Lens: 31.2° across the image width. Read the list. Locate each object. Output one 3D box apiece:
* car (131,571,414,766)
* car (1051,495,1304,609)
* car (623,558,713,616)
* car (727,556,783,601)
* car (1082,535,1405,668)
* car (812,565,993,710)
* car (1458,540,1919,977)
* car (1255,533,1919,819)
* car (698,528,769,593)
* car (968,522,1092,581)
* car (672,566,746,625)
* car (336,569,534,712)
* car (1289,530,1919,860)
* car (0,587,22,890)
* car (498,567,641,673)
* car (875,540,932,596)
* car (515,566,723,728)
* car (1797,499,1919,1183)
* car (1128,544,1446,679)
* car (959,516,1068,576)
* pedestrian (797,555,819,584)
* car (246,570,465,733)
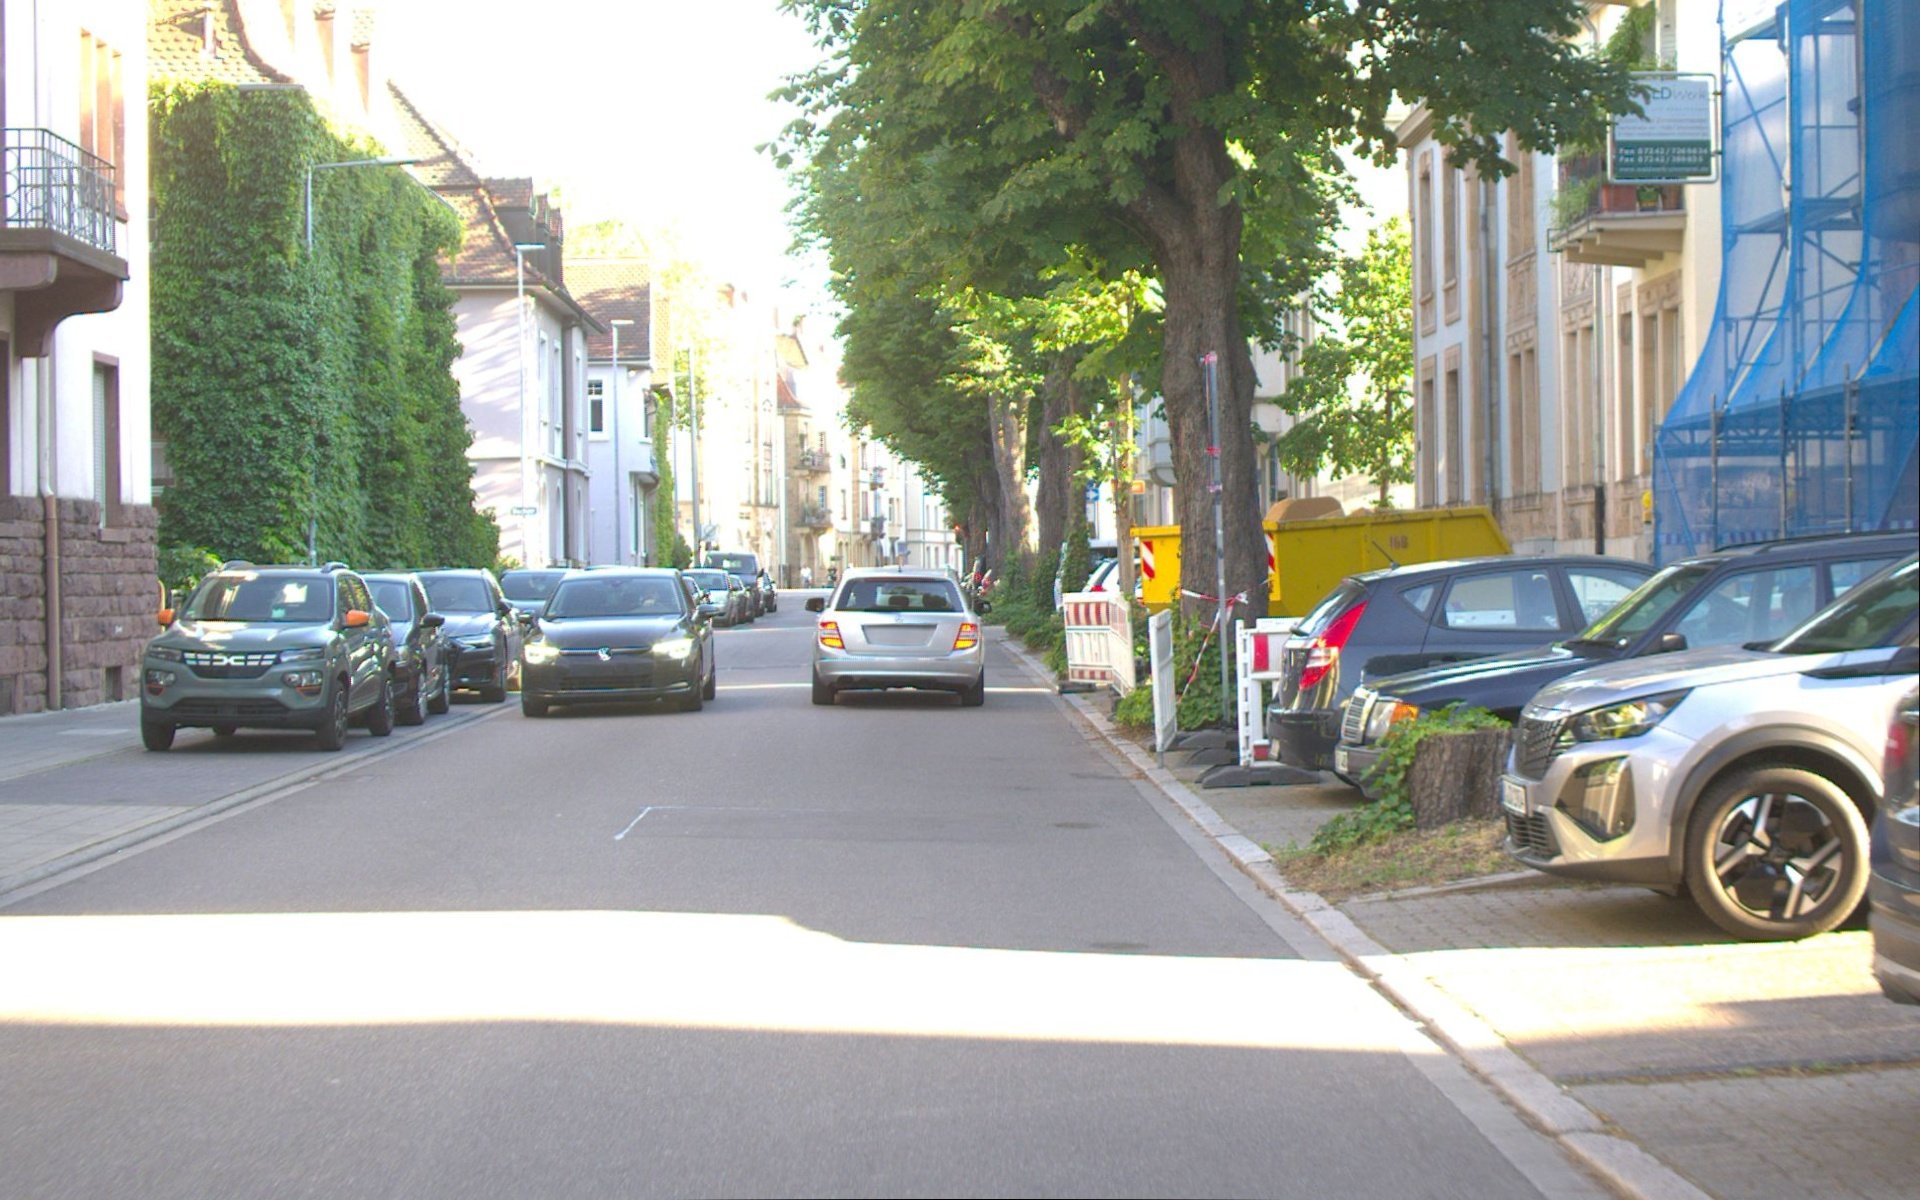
[{"bbox_3d":[-5.688,0.522,28.832,1.653,1.480,3.764,0,1,-1],"label":"car"},{"bbox_3d":[3.892,-0.878,62.087,4.314,1.801,2.000,-3,1,-1],"label":"car"},{"bbox_3d":[-6.792,-0.326,80.178,1.653,1.319,4.045,0,1,1],"label":"car"},{"bbox_3d":[-6.930,-0.746,116.591,1.695,1.442,4.358,0,1,-1],"label":"car"},{"bbox_3d":[3.760,0.008,46.104,4.144,1.529,1.687,-3,1,1],"label":"car"},{"bbox_3d":[-0.584,0.360,36.119,1.784,1.432,3.851,-1,0,0],"label":"car"},{"bbox_3d":[4.268,0.520,13.878,4.155,1.534,1.851,-3,1,-1],"label":"car"},{"bbox_3d":[3.944,0.439,21.487,3.987,1.487,1.851,-3,1,1],"label":"car"},{"bbox_3d":[-6.931,-1.244,105.474,1.982,1.941,4.852,0,1,-2],"label":"car"},{"bbox_3d":[2.496,-1.744,123.308,4.219,1.890,1.906,-3,1,-3],"label":"car"},{"bbox_3d":[-6.494,-0.141,89.263,1.653,1.440,3.960,0,1,0],"label":"car"},{"bbox_3d":[-5.898,0.412,39.086,1.792,1.456,4.778,0,1,-3],"label":"car"},{"bbox_3d":[4.306,0.448,18.928,4.718,1.530,1.851,-3,1,-1],"label":"car"},{"bbox_3d":[-5.399,0.704,14.814,1.653,1.442,4.005,0,1,-1],"label":"car"},{"bbox_3d":[-5.625,0.258,49.921,1.649,1.416,4.099,0,1,-1],"label":"car"},{"bbox_3d":[-1.656,-0.971,101.638,1.623,1.564,3.680,-1,1,0],"label":"car"},{"bbox_3d":[-3.432,0.433,35.227,1.772,1.443,4.000,-2,1,-1],"label":"car"},{"bbox_3d":[4.494,0.493,8.536,4.331,1.677,1.706,-3,2,-1],"label":"car"},{"bbox_3d":[4.111,0.136,43.471,3.852,1.457,1.686,-3,1,4],"label":"car"},{"bbox_3d":[2.207,-2.260,143.406,4.388,2.356,2.000,-1,1,-3],"label":"car"},{"bbox_3d":[-9.133,-1.812,206.436,1.221,1.716,1.503,0,1,2],"label":"pedestrian"},{"bbox_3d":[-5.817,0.456,33.441,1.653,1.442,3.845,0,1,-3],"label":"car"}]
